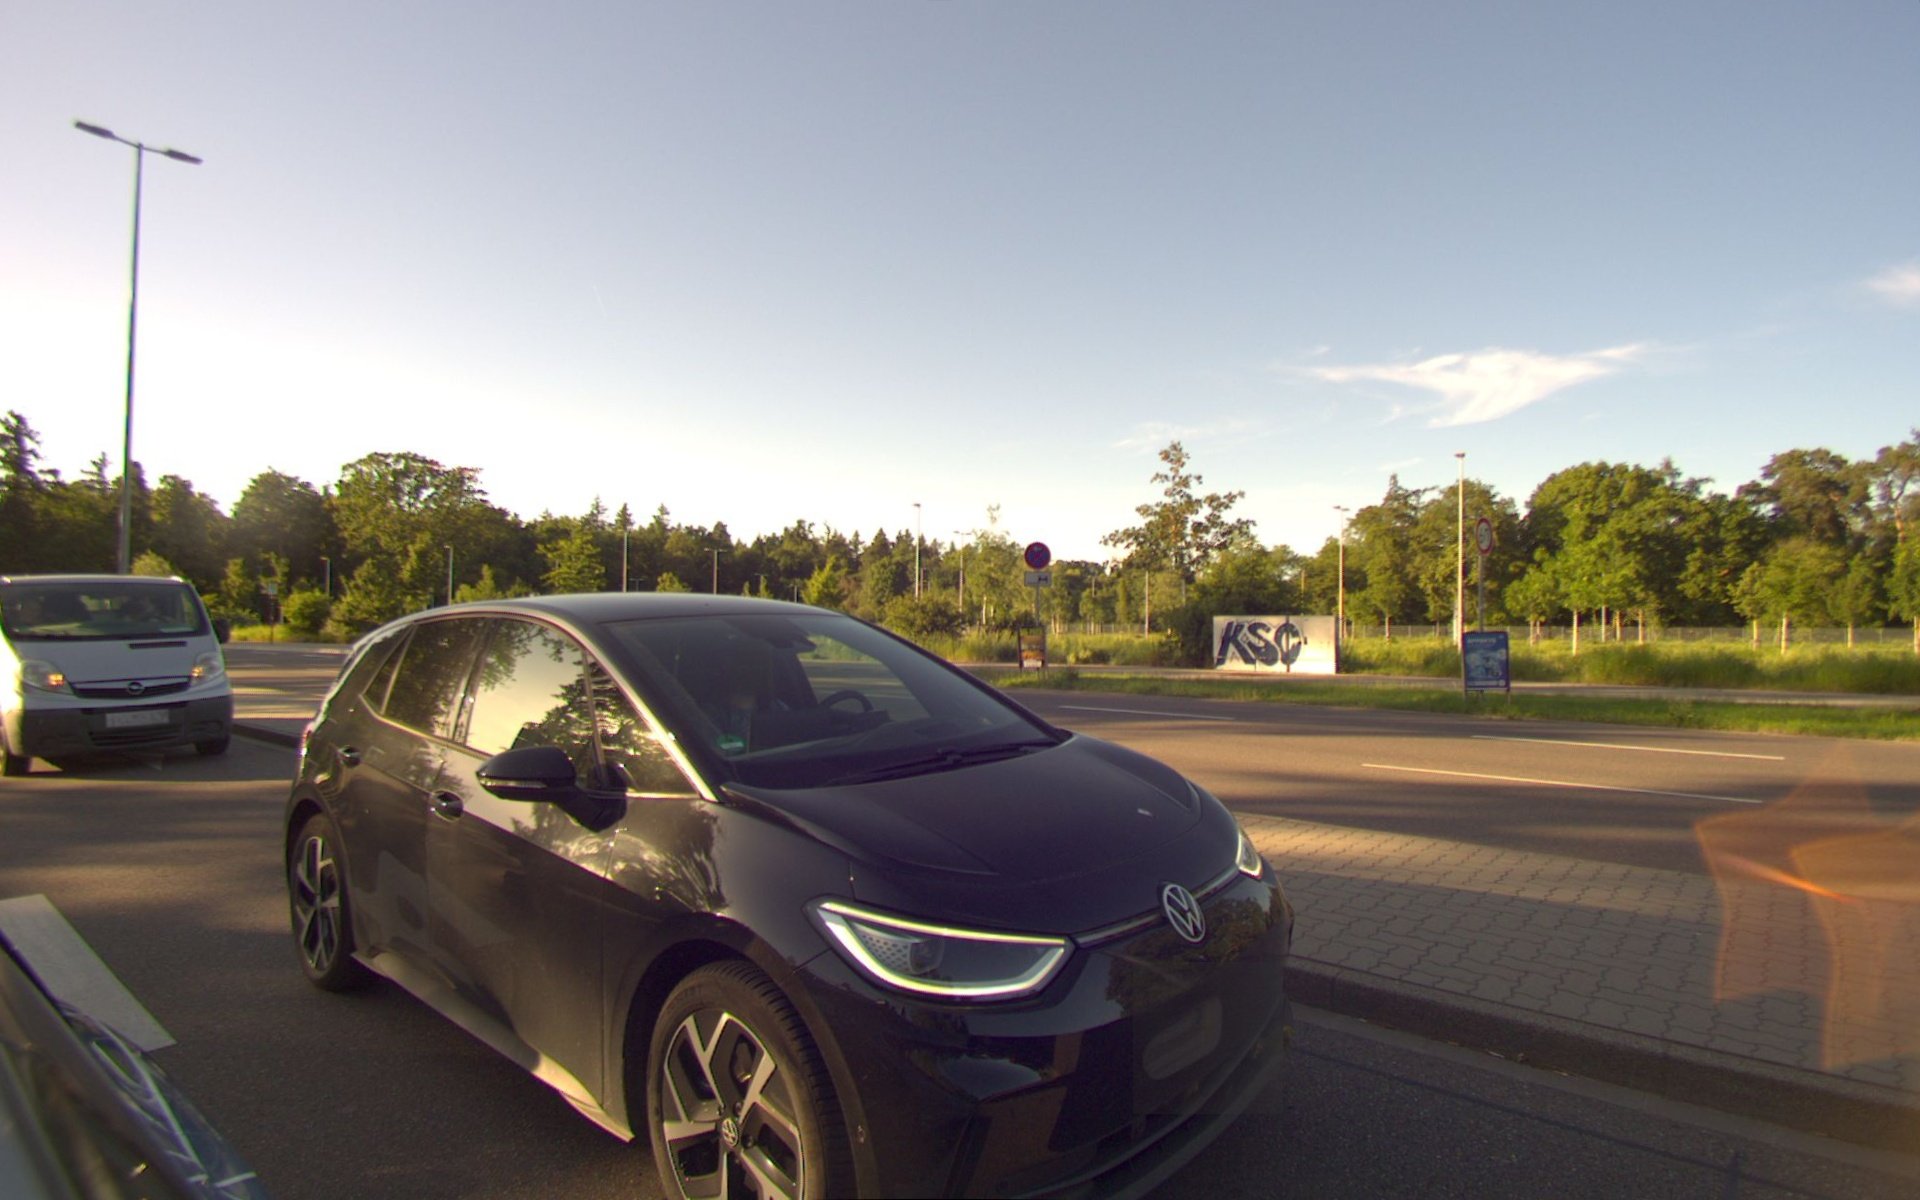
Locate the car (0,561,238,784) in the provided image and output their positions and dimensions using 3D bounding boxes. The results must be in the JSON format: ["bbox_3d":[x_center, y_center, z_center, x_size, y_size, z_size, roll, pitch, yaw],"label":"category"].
[{"bbox_3d":[-9.921,0.696,11.272,5.044,1.977,1.859,-2,-1,40],"label":"car"}]

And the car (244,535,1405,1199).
[{"bbox_3d":[-0.808,0.686,3.565,3.997,1.548,1.859,-1,0,40],"label":"car"}]
